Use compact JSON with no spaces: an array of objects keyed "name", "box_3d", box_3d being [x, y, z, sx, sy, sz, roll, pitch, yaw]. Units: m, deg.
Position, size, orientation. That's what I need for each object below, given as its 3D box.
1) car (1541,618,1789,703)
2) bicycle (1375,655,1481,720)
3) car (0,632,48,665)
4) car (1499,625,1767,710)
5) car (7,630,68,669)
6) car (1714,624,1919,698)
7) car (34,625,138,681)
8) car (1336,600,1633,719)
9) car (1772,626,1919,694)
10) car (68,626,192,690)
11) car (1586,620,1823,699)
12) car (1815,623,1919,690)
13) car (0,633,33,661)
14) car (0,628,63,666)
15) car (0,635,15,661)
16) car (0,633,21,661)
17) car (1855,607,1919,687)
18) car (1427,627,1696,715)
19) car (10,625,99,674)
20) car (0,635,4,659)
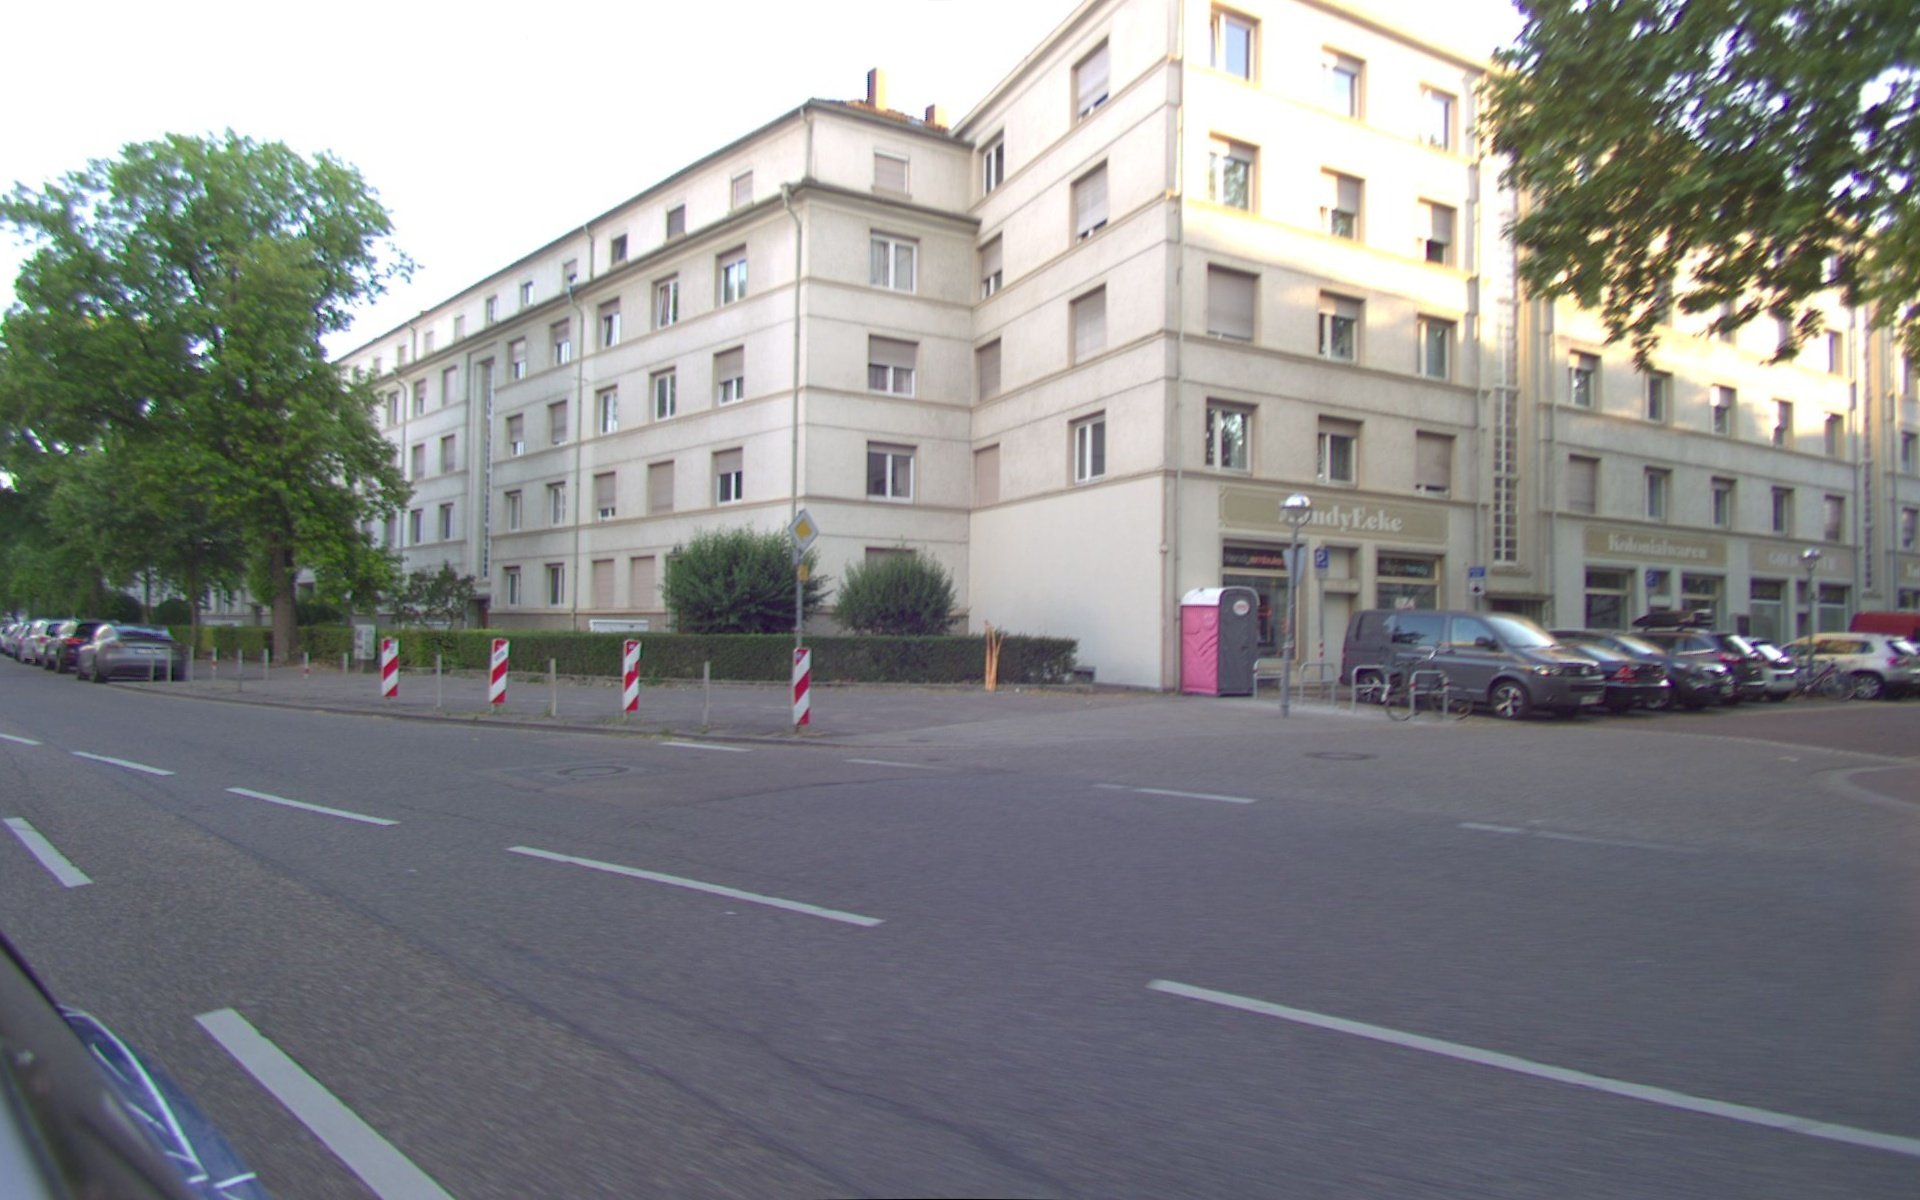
[{"name":"car","box_3d":[16.239,1.319,23.576,1.898,1.763,4.352,1,-1,-28]},{"name":"bicycle","box_3d":[7.924,1.459,17.127,1.793,1.050,0.481,1,-2,-20]},{"name":"car","box_3d":[-48.166,2.474,51.787,4.203,1.550,1.574,-1,-5,40]},{"name":"car","box_3d":[14.270,1.357,21.750,2.014,1.608,4.352,1,-1,-28]},{"name":"car","box_3d":[-38.404,2.048,42.123,1.712,1.508,4.274,5,-5,-43]},{"name":"car","box_3d":[22.901,1.524,26.758,1.898,1.763,4.352,1,-1,-28]},{"name":"car","box_3d":[-28.886,1.734,33.412,4.770,1.732,1.933,-2,-5,42]},{"name":"car","box_3d":[9.912,1.049,19.626,1.965,1.988,4.862,1,-1,-27]},{"name":"car","box_3d":[25.504,1.610,27.982,1.898,1.763,4.352,1,-1,-28]},{"name":"car","box_3d":[-22.988,1.588,27.966,4.604,1.629,1.932,-2,-5,42]},{"name":"car","box_3d":[18.317,1.386,25.135,1.898,1.763,4.352,1,-1,-28]},{"name":"car","box_3d":[27.500,1.597,28.854,1.898,1.856,4.352,1,-1,-28]},{"name":"car","box_3d":[-52.113,2.543,55.381,4.181,1.415,1.573,-2,-6,43]},{"name":"car","box_3d":[-41.899,2.102,45.591,4.116,1.613,1.688,-2,-6,43]},{"name":"car","box_3d":[-58.289,2.832,60.858,4.100,1.477,1.573,-1,-6,41]},{"name":"car","box_3d":[-55.276,2.679,58.167,3.163,1.541,1.507,-1,-6,41]},{"name":"car","box_3d":[31.747,1.493,31.595,1.965,2.522,5.302,1,-1,-27]},{"name":"car","box_3d":[12.062,1.340,20.627,1.898,1.550,4.352,1,-1,-28]},{"name":"car","box_3d":[-34.274,1.854,38.263,4.856,1.704,1.827,-2,-4,41]},{"name":"car","box_3d":[-61.746,2.937,64.039,2.922,1.541,1.572,-2,-6,45]}]
